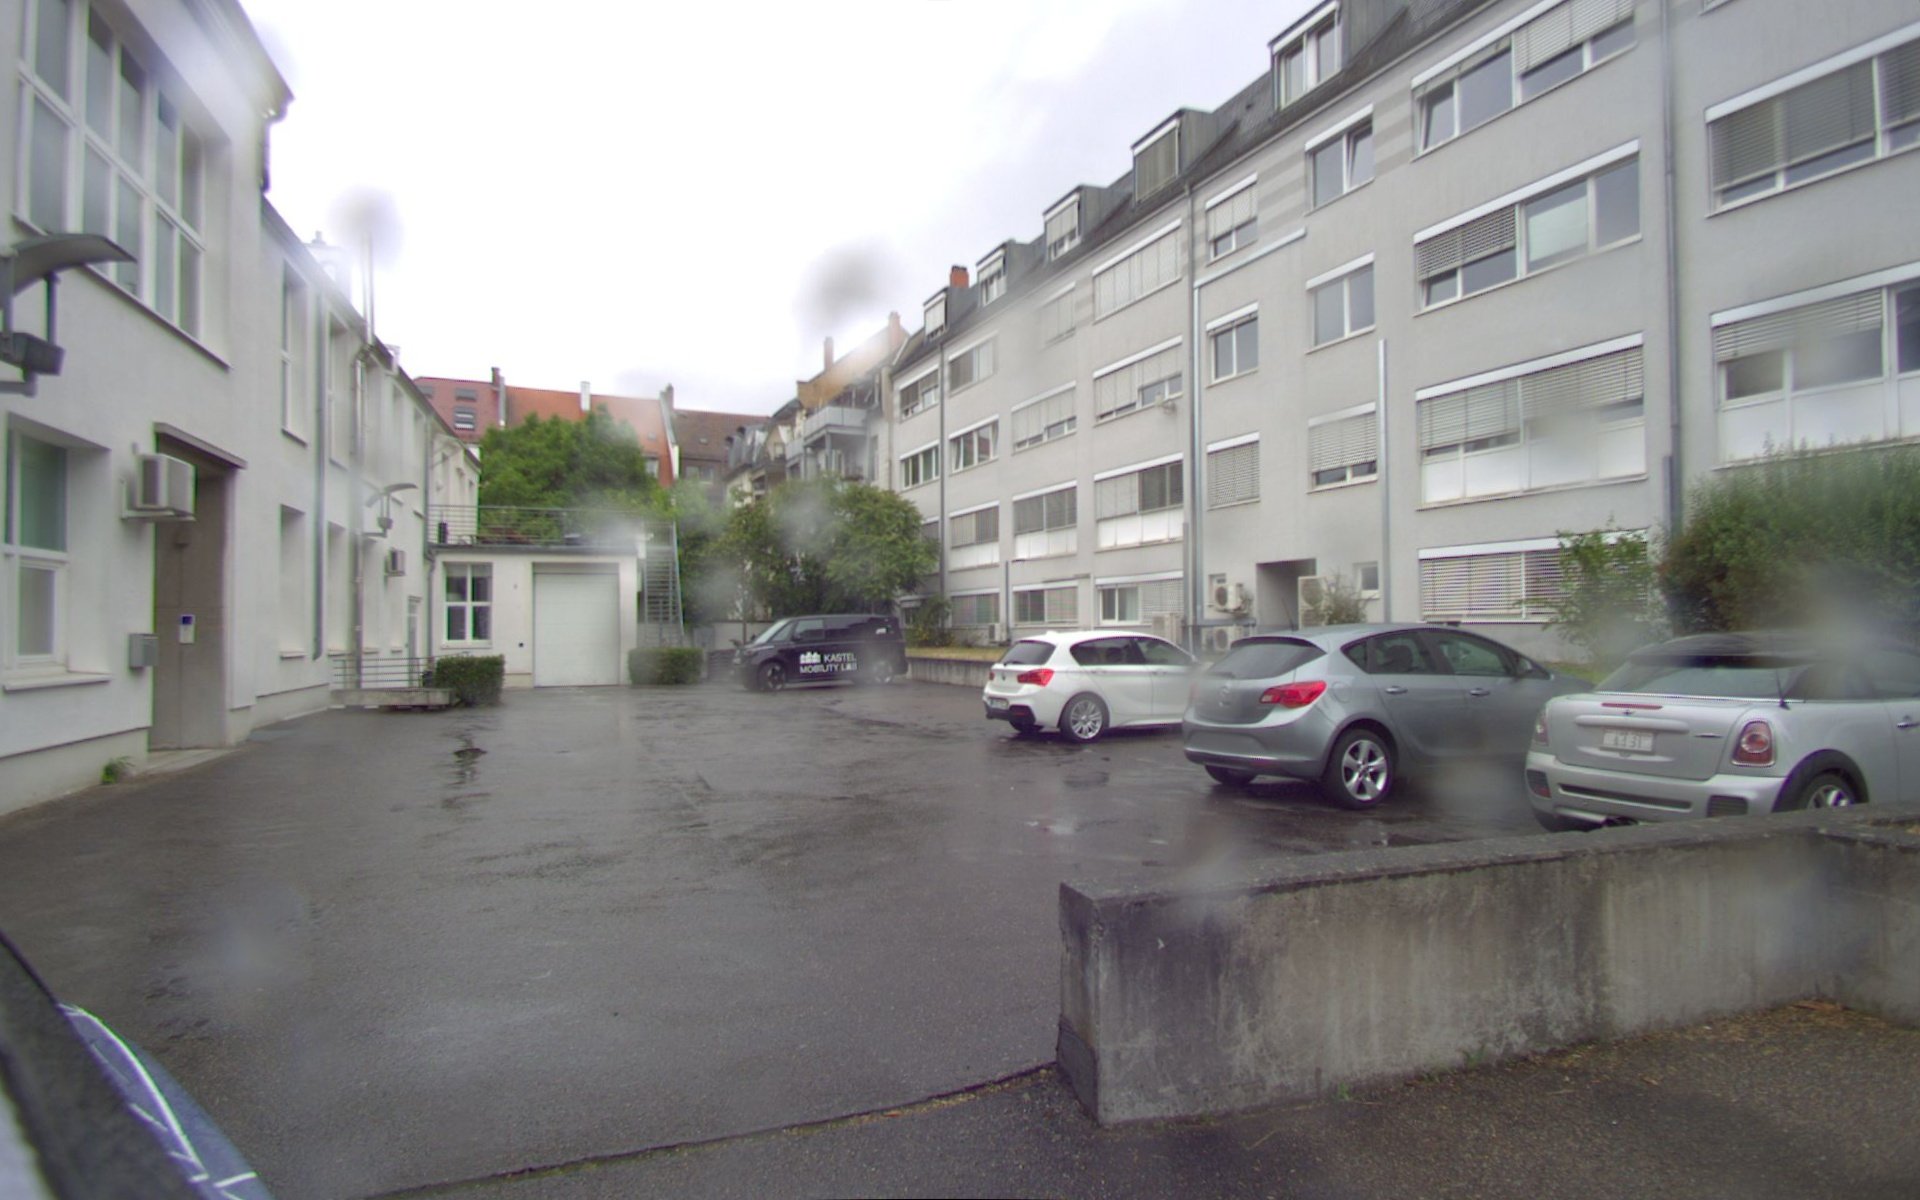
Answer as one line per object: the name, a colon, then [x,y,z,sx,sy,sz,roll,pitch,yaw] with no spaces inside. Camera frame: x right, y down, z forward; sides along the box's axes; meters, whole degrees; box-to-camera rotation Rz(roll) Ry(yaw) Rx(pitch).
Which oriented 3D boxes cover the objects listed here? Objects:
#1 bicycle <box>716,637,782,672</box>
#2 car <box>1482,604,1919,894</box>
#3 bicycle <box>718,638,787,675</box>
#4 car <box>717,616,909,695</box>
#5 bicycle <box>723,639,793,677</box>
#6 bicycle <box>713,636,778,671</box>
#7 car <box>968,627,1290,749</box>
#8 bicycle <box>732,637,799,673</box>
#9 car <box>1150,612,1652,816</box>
bicycle: [-7.576,1.949,36.358,2.281,1.195,0.645,0,0,-18]
car: [5.817,0.772,6.768,4.107,1.343,1.828,-3,-2,-22]
bicycle: [-7.226,1.955,35.238,2.281,1.195,0.645,0,0,-18]
car: [-3.854,1.419,26.575,4.551,1.851,1.994,0,-3,-26]
bicycle: [-6.889,1.958,34.507,2.281,1.195,0.645,0,0,-18]
bicycle: [-7.830,1.946,36.942,2.281,1.195,0.645,0,0,-18]
car: [2.347,1.124,14.037,4.081,1.444,1.759,0,-2,-24]
bicycle: [-6.930,1.948,36.042,2.281,1.195,0.645,0,0,-18]
car: [4.005,0.899,9.216,4.106,1.495,1.828,0,-3,-24]
